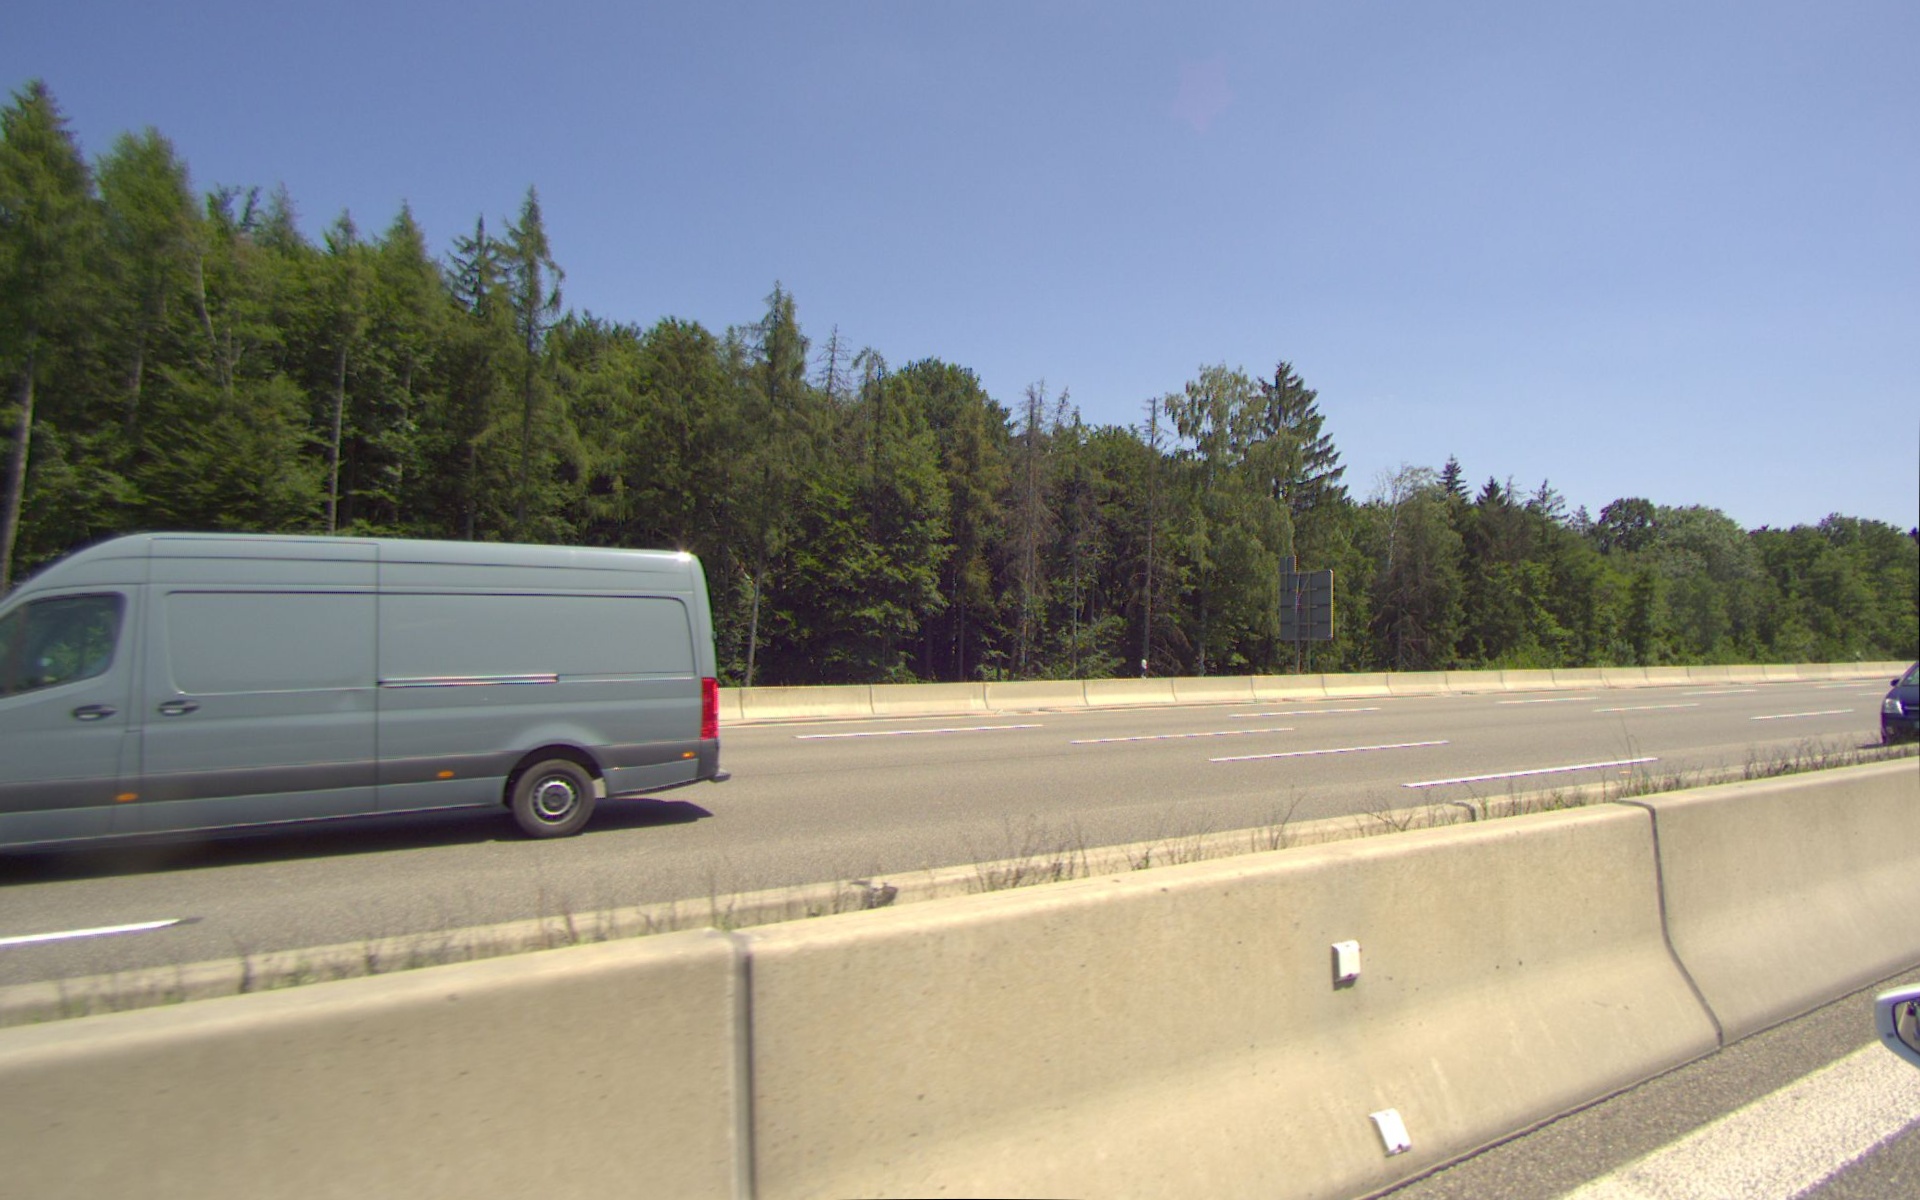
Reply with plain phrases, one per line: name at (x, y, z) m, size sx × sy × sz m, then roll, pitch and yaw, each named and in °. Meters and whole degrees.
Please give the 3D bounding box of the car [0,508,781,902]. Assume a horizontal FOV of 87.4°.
car at (-5.253, 0.772, 8.584) m, size 7.145 × 2.641 × 1.921 m, roll 1°, pitch -3°, yaw -31°

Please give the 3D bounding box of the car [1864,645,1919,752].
car at (16.869, 1.596, 16.686) m, size 3.715 × 1.684 × 1.697 m, roll 1°, pitch -2°, yaw -30°

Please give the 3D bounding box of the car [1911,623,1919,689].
car at (39.137, 2.164, 38.612) m, size 6.548 × 2.444 × 1.922 m, roll 2°, pitch -5°, yaw -30°
